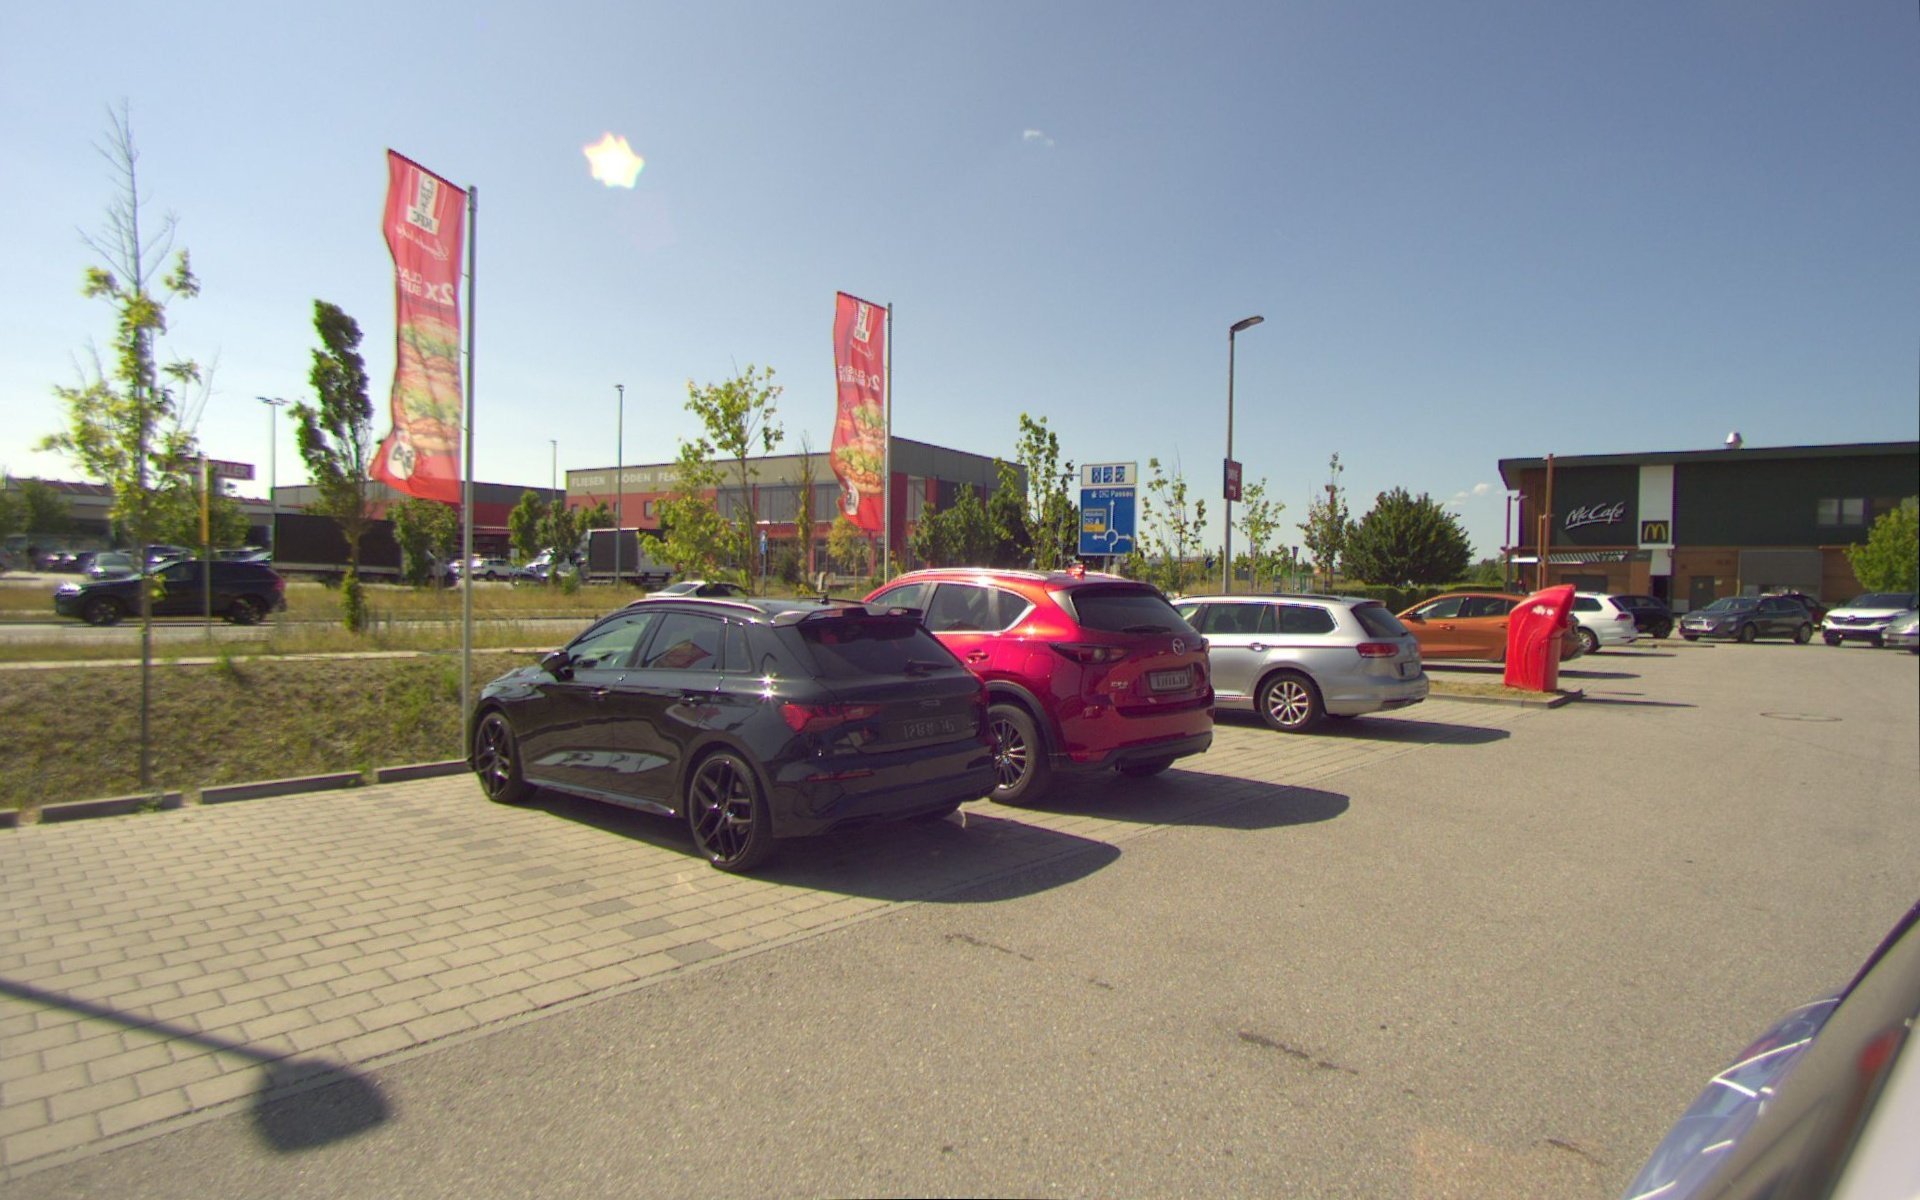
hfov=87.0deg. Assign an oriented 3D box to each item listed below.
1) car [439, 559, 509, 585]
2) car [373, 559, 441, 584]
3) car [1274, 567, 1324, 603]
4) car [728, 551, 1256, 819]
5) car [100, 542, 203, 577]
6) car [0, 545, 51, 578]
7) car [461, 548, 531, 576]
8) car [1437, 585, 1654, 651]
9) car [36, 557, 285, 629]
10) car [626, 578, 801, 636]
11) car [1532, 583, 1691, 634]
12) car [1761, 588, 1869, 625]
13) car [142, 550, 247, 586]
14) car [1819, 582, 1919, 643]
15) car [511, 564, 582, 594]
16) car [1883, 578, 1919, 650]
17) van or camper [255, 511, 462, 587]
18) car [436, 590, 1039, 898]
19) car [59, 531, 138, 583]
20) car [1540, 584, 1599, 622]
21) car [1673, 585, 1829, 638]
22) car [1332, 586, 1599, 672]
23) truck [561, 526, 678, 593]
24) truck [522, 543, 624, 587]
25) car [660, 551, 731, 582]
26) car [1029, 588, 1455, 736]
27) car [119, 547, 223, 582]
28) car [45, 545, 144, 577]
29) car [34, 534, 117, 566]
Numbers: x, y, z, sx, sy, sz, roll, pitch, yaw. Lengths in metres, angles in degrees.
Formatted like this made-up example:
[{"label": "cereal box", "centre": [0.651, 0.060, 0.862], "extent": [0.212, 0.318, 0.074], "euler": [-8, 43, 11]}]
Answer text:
[{"label": "car", "centre": [-36.479, -2.079, 76.092], "extent": [2.031, 1.879, 4.357], "euler": [1, 1, 30]}, {"label": "car", "centre": [-43.835, -2.240, 80.294], "extent": [1.940, 1.879, 4.357], "euler": [1, 1, 30]}, {"label": "car", "centre": [22.295, -0.961, 66.419], "extent": [1.984, 2.224, 5.049], "euler": [1, 1, 31]}, {"label": "car", "centre": [0.069, 0.502, 8.432], "extent": [4.217, 1.658, 1.920], "euler": [1, 0, 44]}, {"label": "car", "centre": [-47.723, -2.383, 59.799], "extent": [1.940, 1.879, 4.357], "euler": [1, 1, 30]}, {"label": "car", "centre": [-56.255, -2.258, 59.072], "extent": [1.940, 1.879, 4.357], "euler": [1, 1, 30]}, {"label": "car", "centre": [-33.918, -2.773, 74.095], "extent": [1.940, 1.879, 4.357], "euler": [1, 1, 30]}, {"label": "car", "centre": [14.403, 0.393, 25.019], "extent": [4.457, 1.487, 1.808], "euler": [0, 0, 38]}, {"label": "car", "centre": [-19.866, -0.165, 25.291], "extent": [4.726, 1.645, 1.996], "euler": [1, 1, -44]}, {"label": "car", "centre": [-7.085, 0.179, 29.411], "extent": [1.994, 1.546, 4.584], "euler": [2, 1, 43]}, {"label": "car", "centre": [21.168, 0.265, 32.939], "extent": [4.241, 1.545, 1.980], "euler": [1, 1, -15]}, {"label": "car", "centre": [40.611, 0.313, 48.071], "extent": [4.373, 1.622, 1.967], "euler": [1, 0, -20]}, {"label": "car", "centre": [-43.116, -1.779, 57.101], "extent": [1.940, 1.879, 4.357], "euler": [1, 1, 30]}, {"label": "car", "centre": [27.238, 0.356, 29.464], "extent": [4.121, 1.675, 1.978], "euler": [1, 0, -28]}, {"label": "car", "centre": [-21.738, -1.114, 53.199], "extent": [3.942, 1.478, 1.634], "euler": [2, 1, 36]}, {"label": "car", "centre": [25.941, 0.380, 24.764], "extent": [4.645, 1.770, 1.813], "euler": [1, 1, 31]}, {"label": "van or camper", "centre": [-27.184, -2.240, 46.250], "extent": [7.889, 3.140, 2.423], "euler": [1, 0, -26]}, {"label": "car", "centre": [-1.680, 0.658, 6.765], "extent": [4.186, 1.428, 1.748], "euler": [1, 0, 40]}, {"label": "car", "centre": [-33.460, -1.641, 39.410], "extent": [1.918, 1.879, 4.404], "euler": [1, 1, -35]}, {"label": "car", "centre": [29.120, 0.115, 48.439], "extent": [1.977, 1.712, 4.198], "euler": [2, 1, 26]}, {"label": "car", "centre": [24.325, 0.350, 31.148], "extent": [4.119, 1.545, 1.979], "euler": [1, 0, -22]}, {"label": "car", "centre": [9.593, 0.483, 19.376], "extent": [4.329, 1.487, 1.808], "euler": [0, 0, 38]}, {"label": "truck", "centre": [-18.961, -2.208, 56.164], "extent": [6.793, 3.524, 2.732], "euler": [2, 0, 37]}, {"label": "truck", "centre": [-26.901, -2.407, 70.667], "extent": [1.939, 2.850, 6.982], "euler": [1, 1, 30]}, {"label": "car", "centre": [-17.044, -2.134, 65.490], "extent": [1.940, 1.879, 4.357], "euler": [1, 1, 30]}, {"label": "car", "centre": [3.137, 0.576, 11.937], "extent": [4.583, 1.431, 1.714], "euler": [1, 0, 42]}, {"label": "car", "centre": [-45.647, -2.031, 58.635], "extent": [1.940, 1.879, 4.357], "euler": [1, 1, 30]}, {"label": "car", "centre": [-54.614, -2.438, 63.912], "extent": [1.940, 1.879, 4.357], "euler": [1, 1, 30]}, {"label": "car", "centre": [-60.894, -3.400, 69.707], "extent": [1.986, 2.039, 3.952], "euler": [1, 1, 33]}]
